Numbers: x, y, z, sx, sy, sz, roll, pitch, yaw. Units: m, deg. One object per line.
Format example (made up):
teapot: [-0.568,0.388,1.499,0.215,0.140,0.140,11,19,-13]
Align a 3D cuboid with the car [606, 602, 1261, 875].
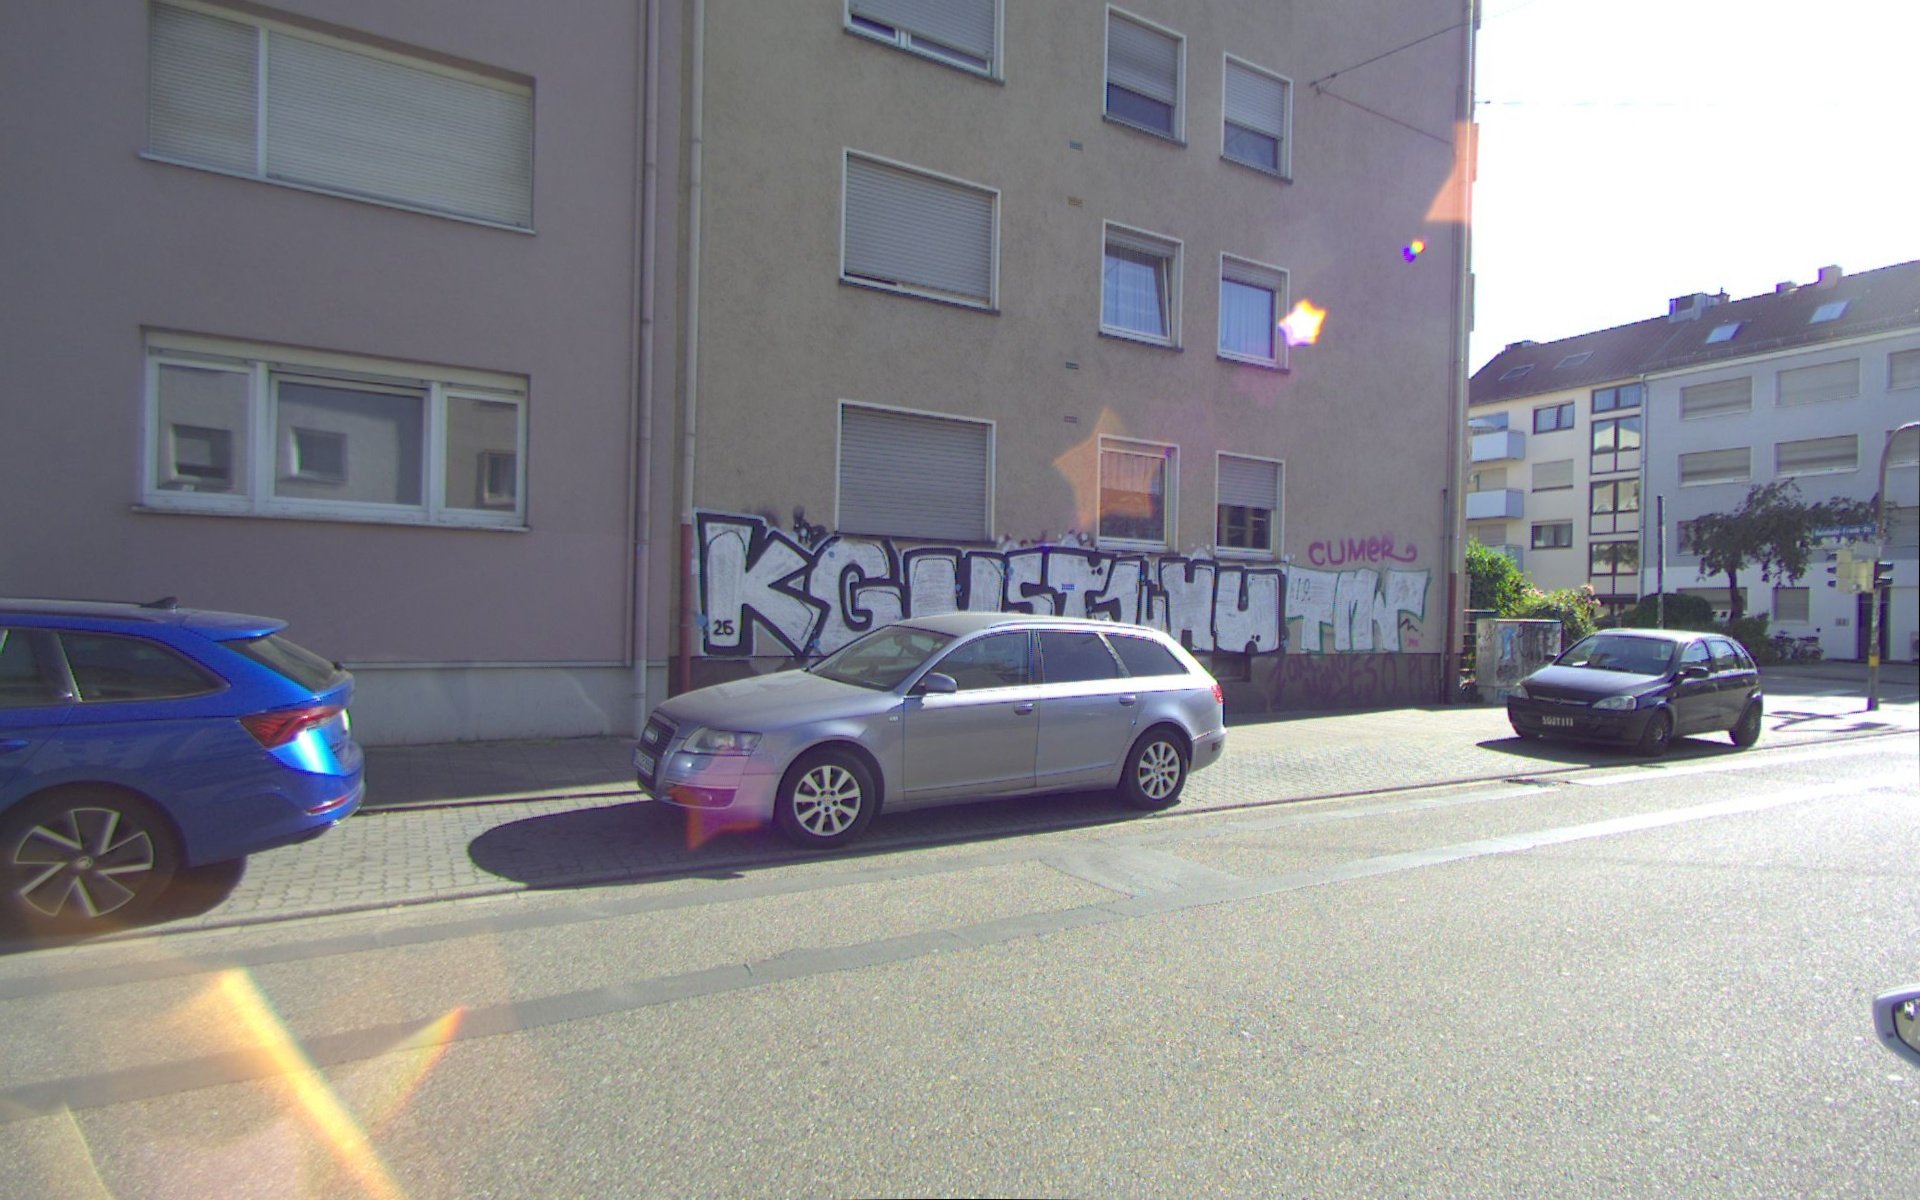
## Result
car: [-0.055,0.840,7.676,4.759,1.485,1.708,1,2,-31]

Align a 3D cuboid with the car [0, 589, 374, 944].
car: [-5.373,0.707,4.636,4.559,1.485,1.709,1,2,-31]

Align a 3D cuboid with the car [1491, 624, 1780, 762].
car: [8.642,1.089,12.806,3.667,1.444,1.608,1,2,-31]

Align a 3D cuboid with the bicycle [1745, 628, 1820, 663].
bicycle: [29.771,1.633,36.388,2.068,1.188,0.738,0,-1,37]
